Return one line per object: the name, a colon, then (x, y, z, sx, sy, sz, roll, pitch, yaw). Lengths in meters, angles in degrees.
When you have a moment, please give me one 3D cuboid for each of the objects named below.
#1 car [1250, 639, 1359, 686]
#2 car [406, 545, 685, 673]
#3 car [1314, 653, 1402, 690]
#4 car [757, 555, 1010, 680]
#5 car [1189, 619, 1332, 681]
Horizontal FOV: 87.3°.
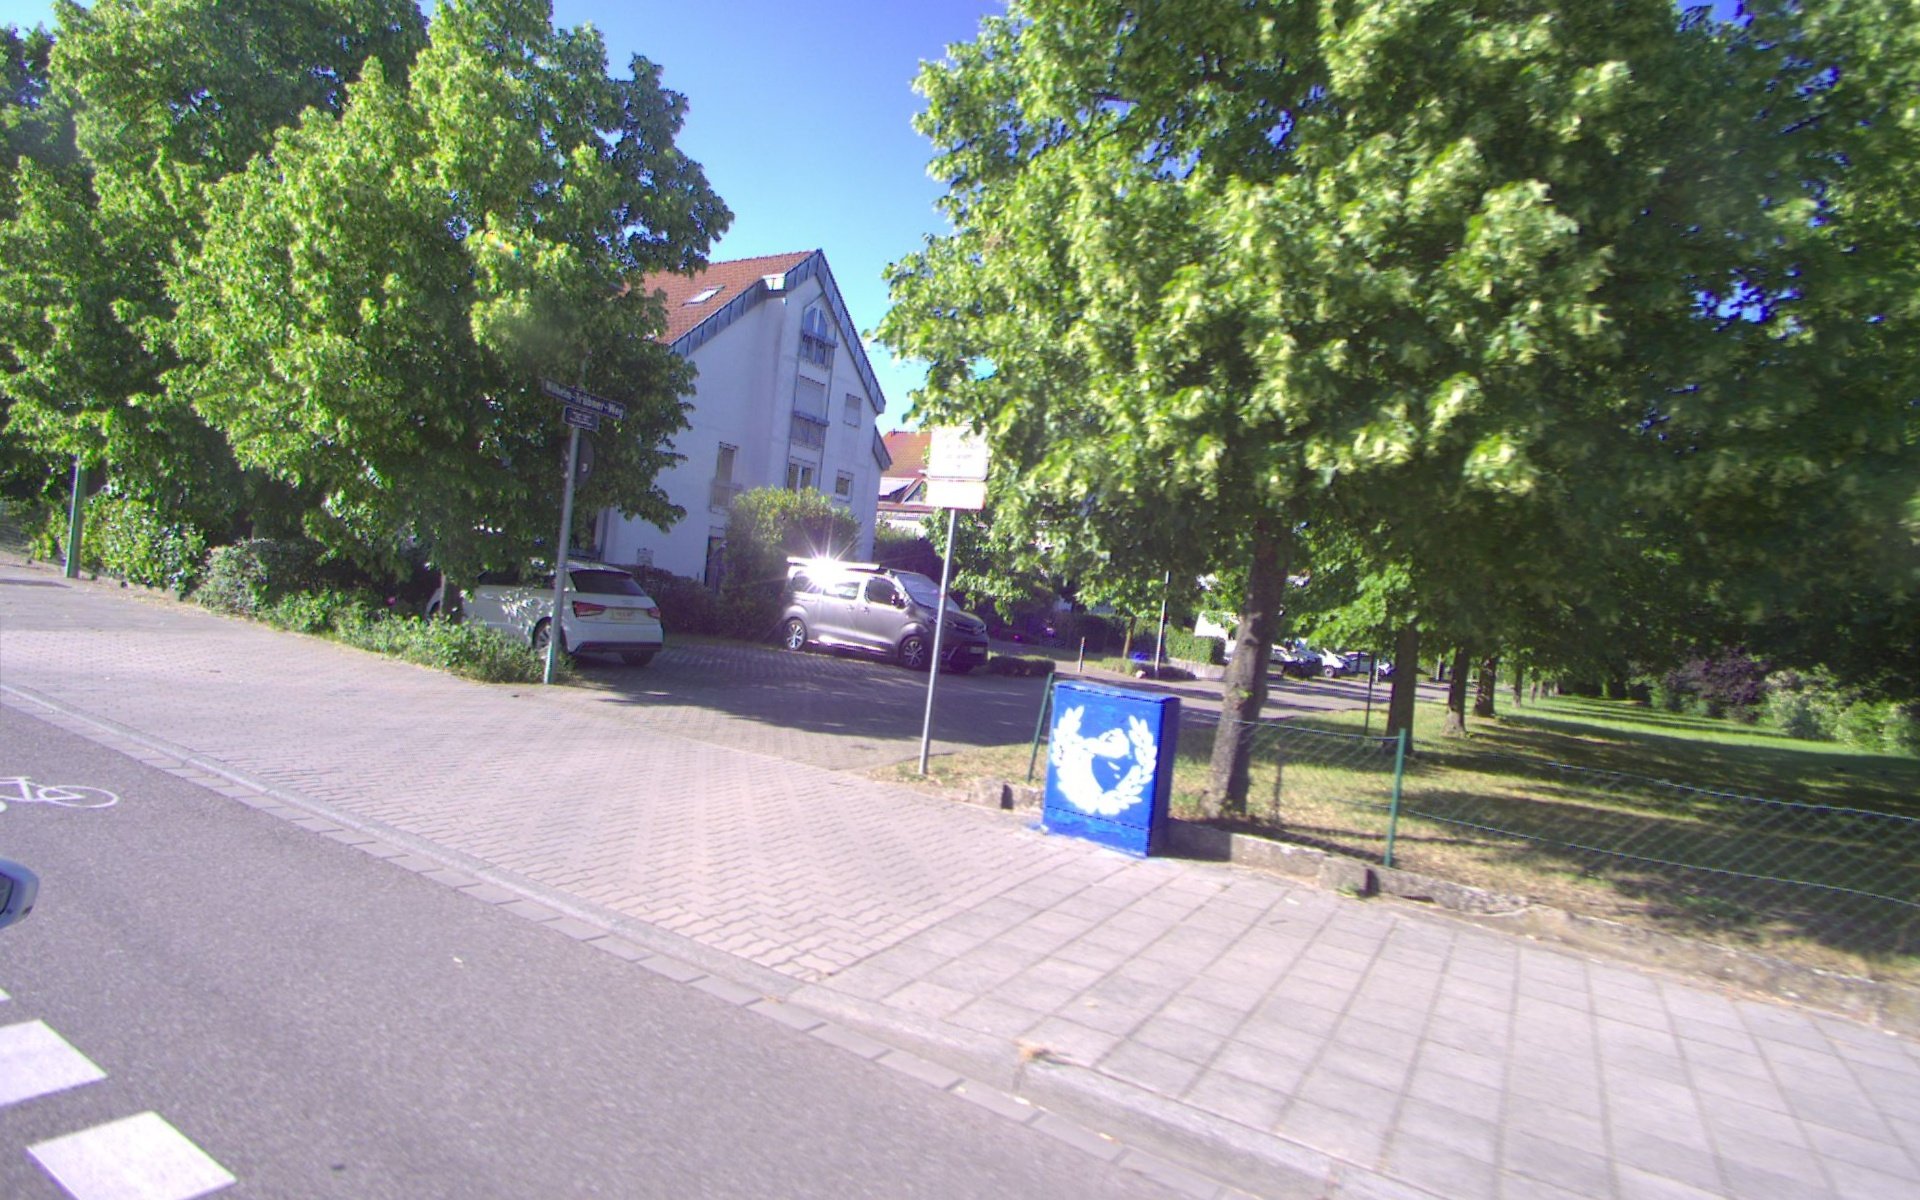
car: (18.776, 3.390, 54.989, 5.191, 1.890, 1.874, 7, 0, 33)
car: (-6.127, 0.101, 14.785, 3.805, 1.404, 1.776, 6, 1, 30)
car: (26.258, 4.686, 66.465, 4.998, 1.750, 1.874, 7, 0, 33)
car: (-1.690, 0.329, 21.229, 5.083, 1.990, 1.874, 7, 0, 33)
car: (13.680, 2.268, 46.031, 5.776, 2.064, 2.019, 7, 0, 33)
